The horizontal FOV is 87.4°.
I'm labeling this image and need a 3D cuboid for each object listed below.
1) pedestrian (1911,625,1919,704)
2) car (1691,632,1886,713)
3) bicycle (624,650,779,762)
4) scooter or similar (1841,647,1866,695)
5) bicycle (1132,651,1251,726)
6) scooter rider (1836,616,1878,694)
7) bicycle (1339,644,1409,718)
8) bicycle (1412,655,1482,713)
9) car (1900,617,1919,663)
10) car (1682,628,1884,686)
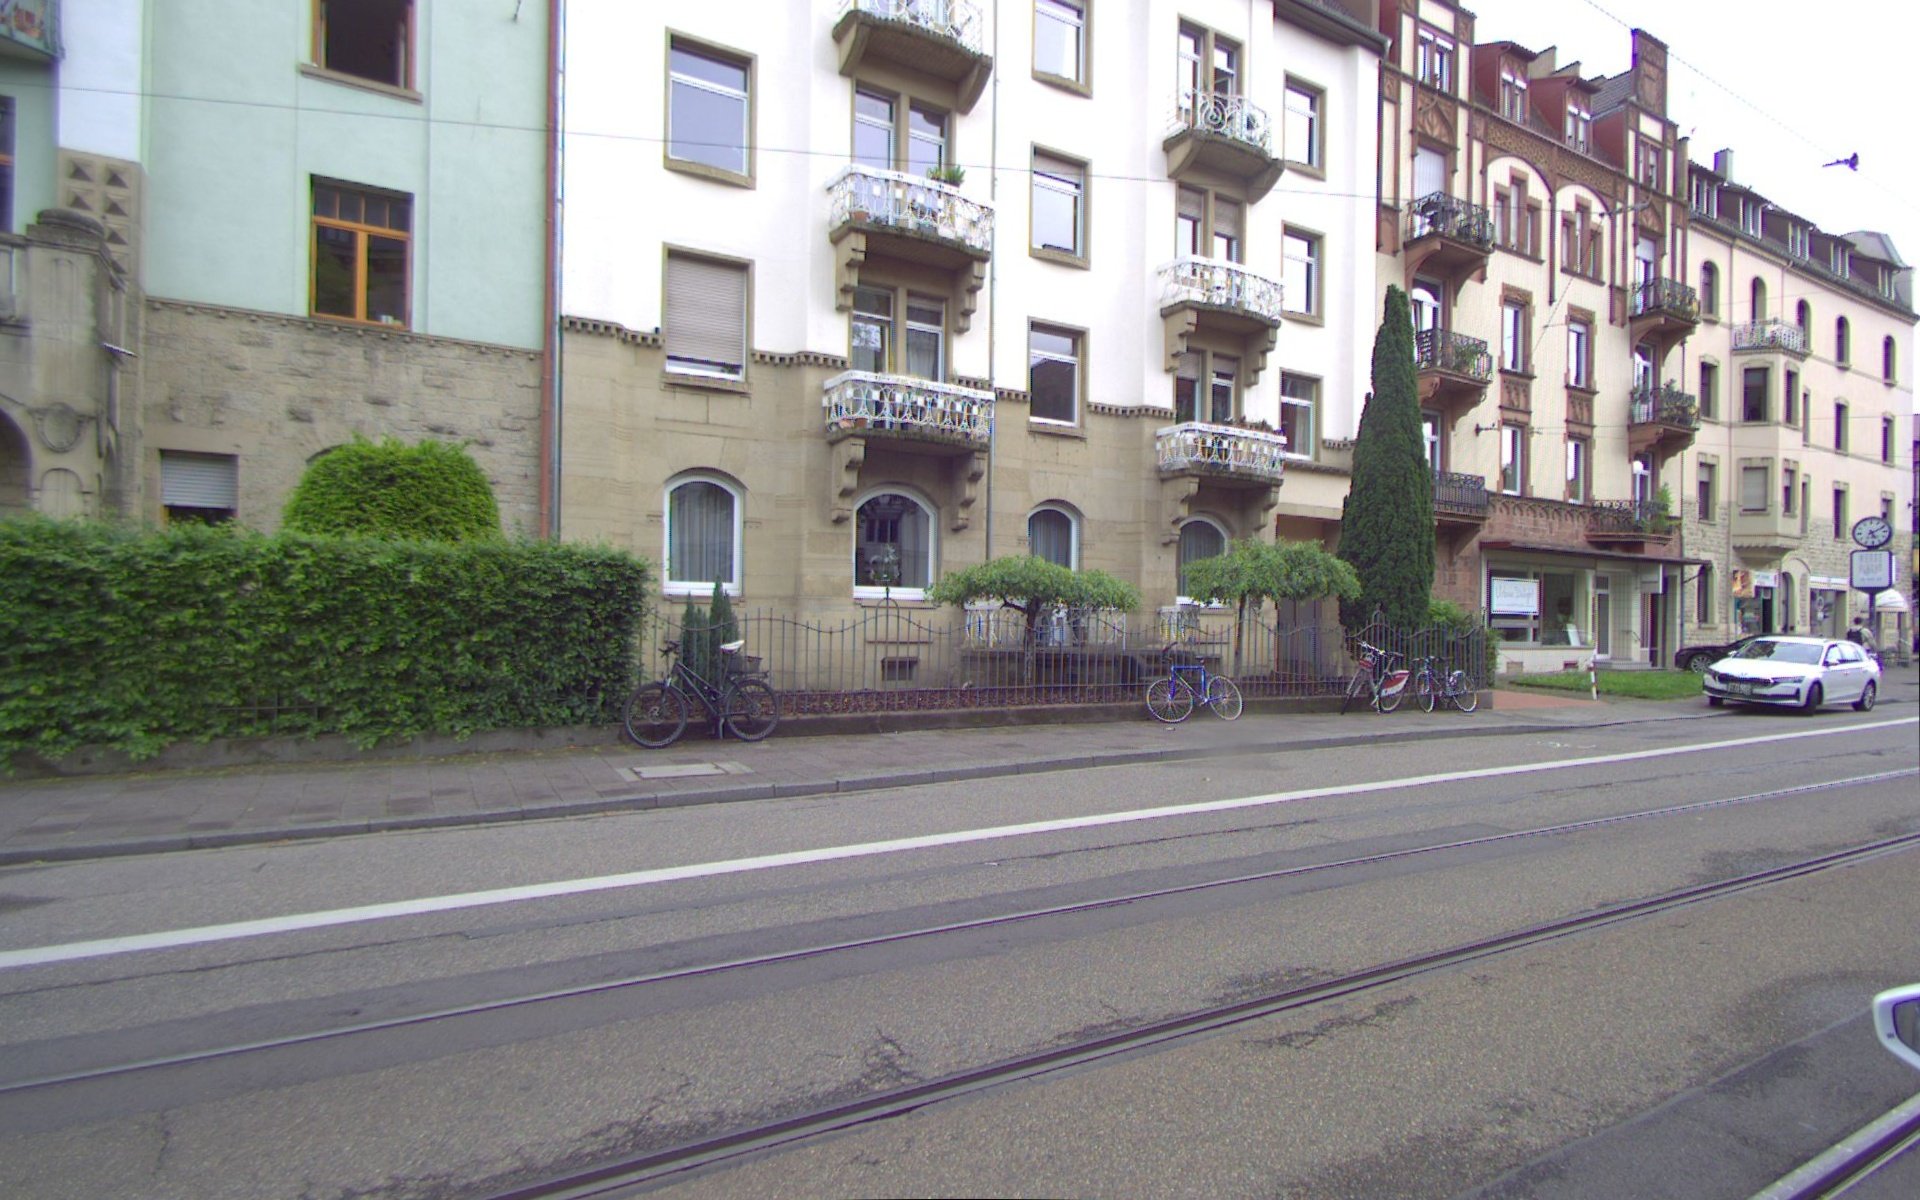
[{"bbox_3d":[23.126,1.537,23.834,0.659,1.868,0.879,0,-2,34],"label":"pedestrian"},{"bbox_3d":[17.228,1.429,20.845,4.557,1.504,1.738,1,-2,-31],"label":"car"},{"bbox_3d":[-2.693,1.084,10.525,1.528,1.098,0.358,1,-1,-31],"label":"bicycle"},{"bbox_3d":[23.805,1.877,26.759,0.942,1.250,0.230,1,-1,-30],"label":"scooter or similar"},{"bbox_3d":[3.296,1.241,14.260,1.640,0.938,0.358,1,-19,-28],"label":"bicycle"},{"bbox_3d":[23.903,1.439,26.764,0.749,2.040,0.639,1,-1,-30],"label":"scooter rider"},{"bbox_3d":[6.636,1.271,16.058,1.613,1.116,0.381,2,-2,-42],"label":"bicycle"},{"bbox_3d":[8.444,1.439,17.394,1.498,0.950,0.330,1,-1,-31],"label":"bicycle"},{"bbox_3d":[52.585,2.153,53.076,2.142,2.449,5.382,0,-1,18],"label":"car"},{"bbox_3d":[24.888,1.676,30.538,1.861,1.389,4.397,1,1,-34],"label":"car"}]
